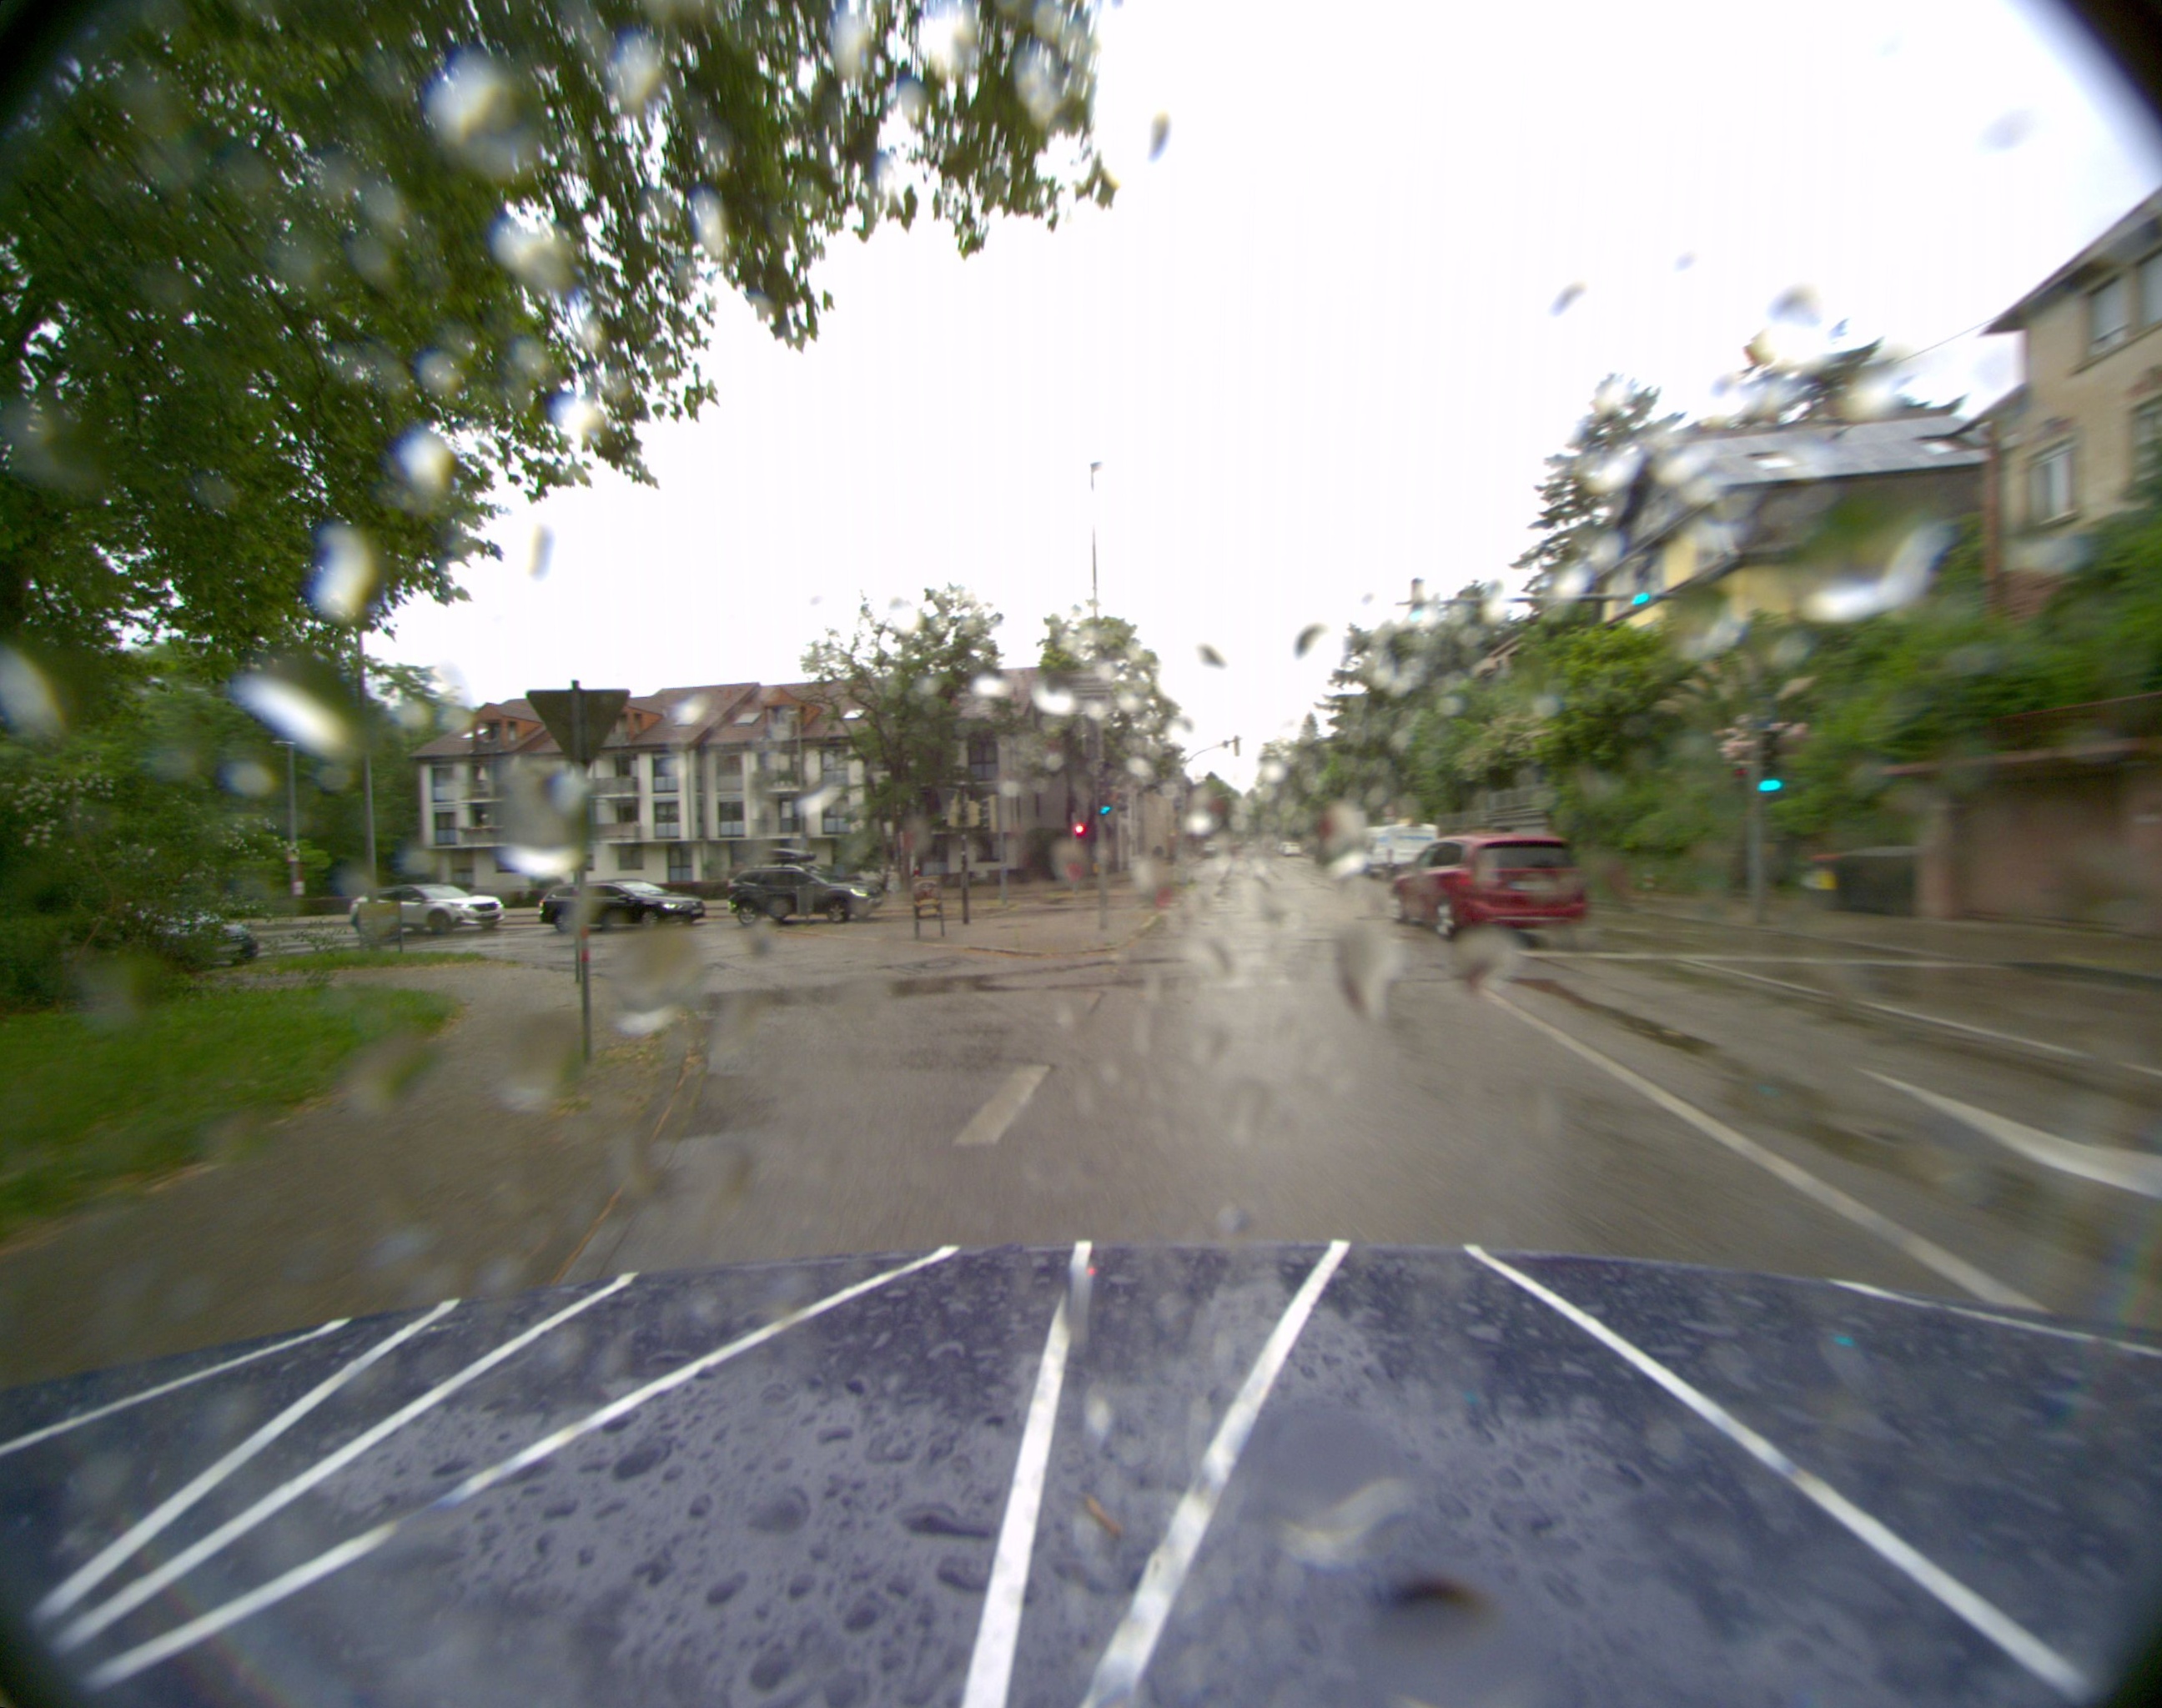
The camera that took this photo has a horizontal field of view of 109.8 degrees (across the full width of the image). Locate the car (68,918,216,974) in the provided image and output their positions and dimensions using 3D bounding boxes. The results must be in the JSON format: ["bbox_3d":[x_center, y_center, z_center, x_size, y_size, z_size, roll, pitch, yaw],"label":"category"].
[{"bbox_3d":[-14.131,1.377,11.450,1.534,0.718,0.713,-2,1,10],"label":"car"}]

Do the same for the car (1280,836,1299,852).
[{"bbox_3d":[25.913,-1.213,94.526,1.923,1.889,4.003,-2,1,11],"label":"car"}]

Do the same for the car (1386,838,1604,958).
[{"bbox_3d":[6.387,0.567,12.273,1.792,1.600,4.095,-1,1,9],"label":"car"}]

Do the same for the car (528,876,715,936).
[{"bbox_3d":[-13.609,1.521,22.605,4.619,1.438,1.611,-2,3,6],"label":"car"}]

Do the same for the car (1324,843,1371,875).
[{"bbox_3d":[17.810,0.278,51.066,2.160,1.945,4.919,2,1,10],"label":"car"}]

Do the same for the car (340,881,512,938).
[{"bbox_3d":[-20.653,1.736,24.036,4.167,1.537,1.667,-2,2,7],"label":"car"}]

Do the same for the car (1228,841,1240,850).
[{"bbox_3d":[32.110,-1.811,159.254,1.923,1.889,4.004,-2,1,17],"label":"car"}]

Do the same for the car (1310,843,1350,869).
[{"bbox_3d":[18.818,0.094,57.655,2.160,1.816,4.919,2,1,10],"label":"car"}]

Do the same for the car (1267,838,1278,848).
[{"bbox_3d":[38.388,-2.182,152.278,1.923,1.889,4.004,-2,1,17],"label":"car"}]

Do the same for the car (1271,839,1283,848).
[{"bbox_3d":[41.630,-2.183,161.044,1.922,1.889,4.005,-2,1,21],"label":"car"}]

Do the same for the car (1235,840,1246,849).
[{"bbox_3d":[35.501,-2.047,168.741,1.922,1.889,4.005,-2,1,19],"label":"car"}]

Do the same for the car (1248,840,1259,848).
[{"bbox_3d":[41.981,-2.480,185.196,1.922,1.889,4.006,-2,1,24],"label":"car"}]

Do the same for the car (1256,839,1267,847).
[{"bbox_3d":[46.327,-2.752,194.590,1.922,1.889,4.006,-2,1,26],"label":"car"}]

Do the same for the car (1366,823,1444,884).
[{"bbox_3d":[14.337,-0.073,33.896,2.083,2.464,4.857,2,2,10],"label":"car"}]

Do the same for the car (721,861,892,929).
[{"bbox_3d":[-7.844,1.146,21.915,4.223,1.677,1.710,-3,1,6],"label":"car"}]

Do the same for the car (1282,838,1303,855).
[{"bbox_3d":[23.416,-0.823,84.119,1.923,1.747,4.003,-2,1,11],"label":"car"}]

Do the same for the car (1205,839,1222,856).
[{"bbox_3d":[15.999,-0.795,91.715,1.923,1.889,4.003,-2,1,11],"label":"car"}]

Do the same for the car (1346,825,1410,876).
[{"bbox_3d":[15.556,-0.215,40.089,2.160,2.454,4.919,2,2,10],"label":"car"}]
